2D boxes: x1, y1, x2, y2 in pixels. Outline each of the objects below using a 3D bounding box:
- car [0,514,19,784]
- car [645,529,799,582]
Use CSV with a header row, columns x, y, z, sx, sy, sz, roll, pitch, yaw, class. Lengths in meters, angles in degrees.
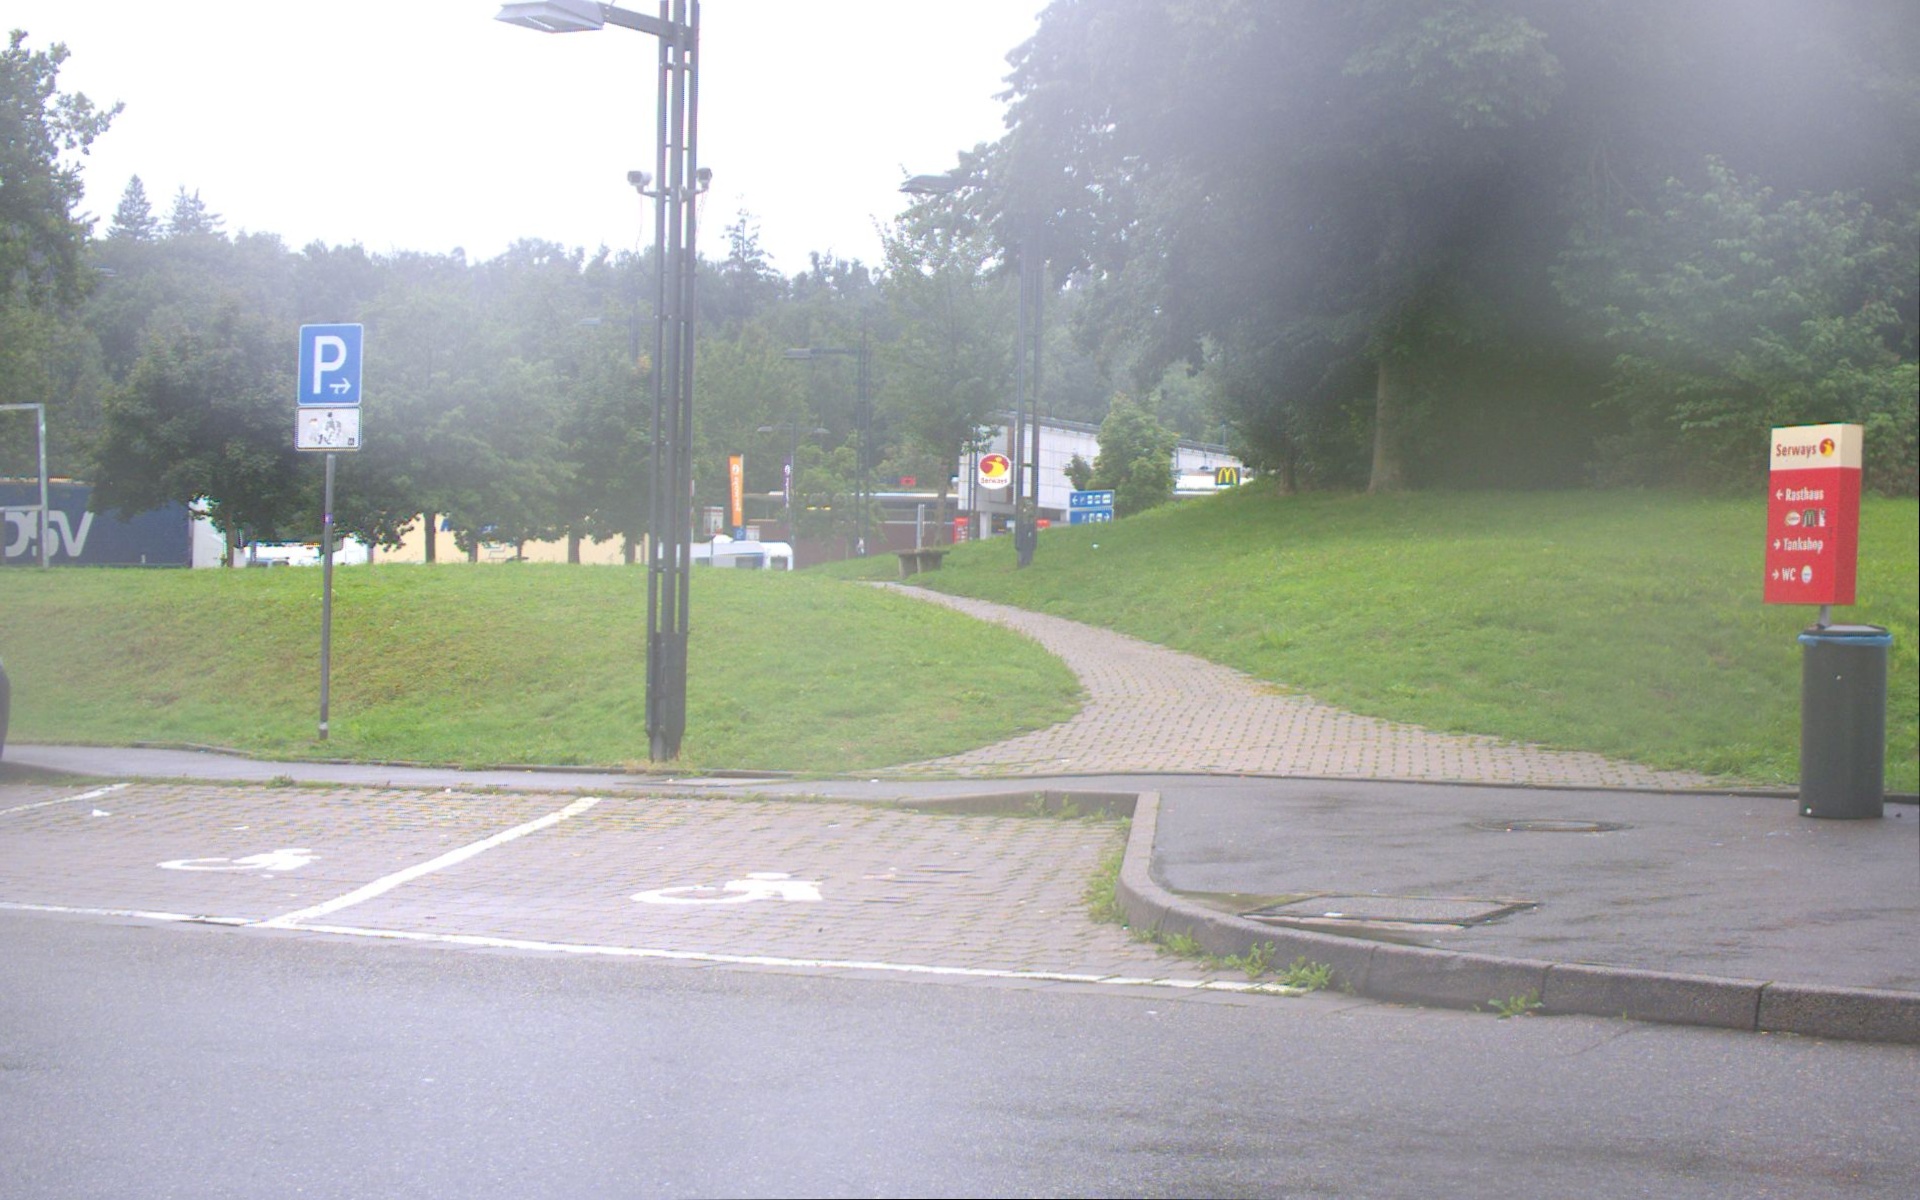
x,y,z,sx,sy,sz,roll,pitch,yaw,class
-7.768,0.369,21.445,1.885,1.821,4.411,0,1,11,car
-9.262,-1.737,133.772,5.429,2.007,2.453,1,1,20,car
